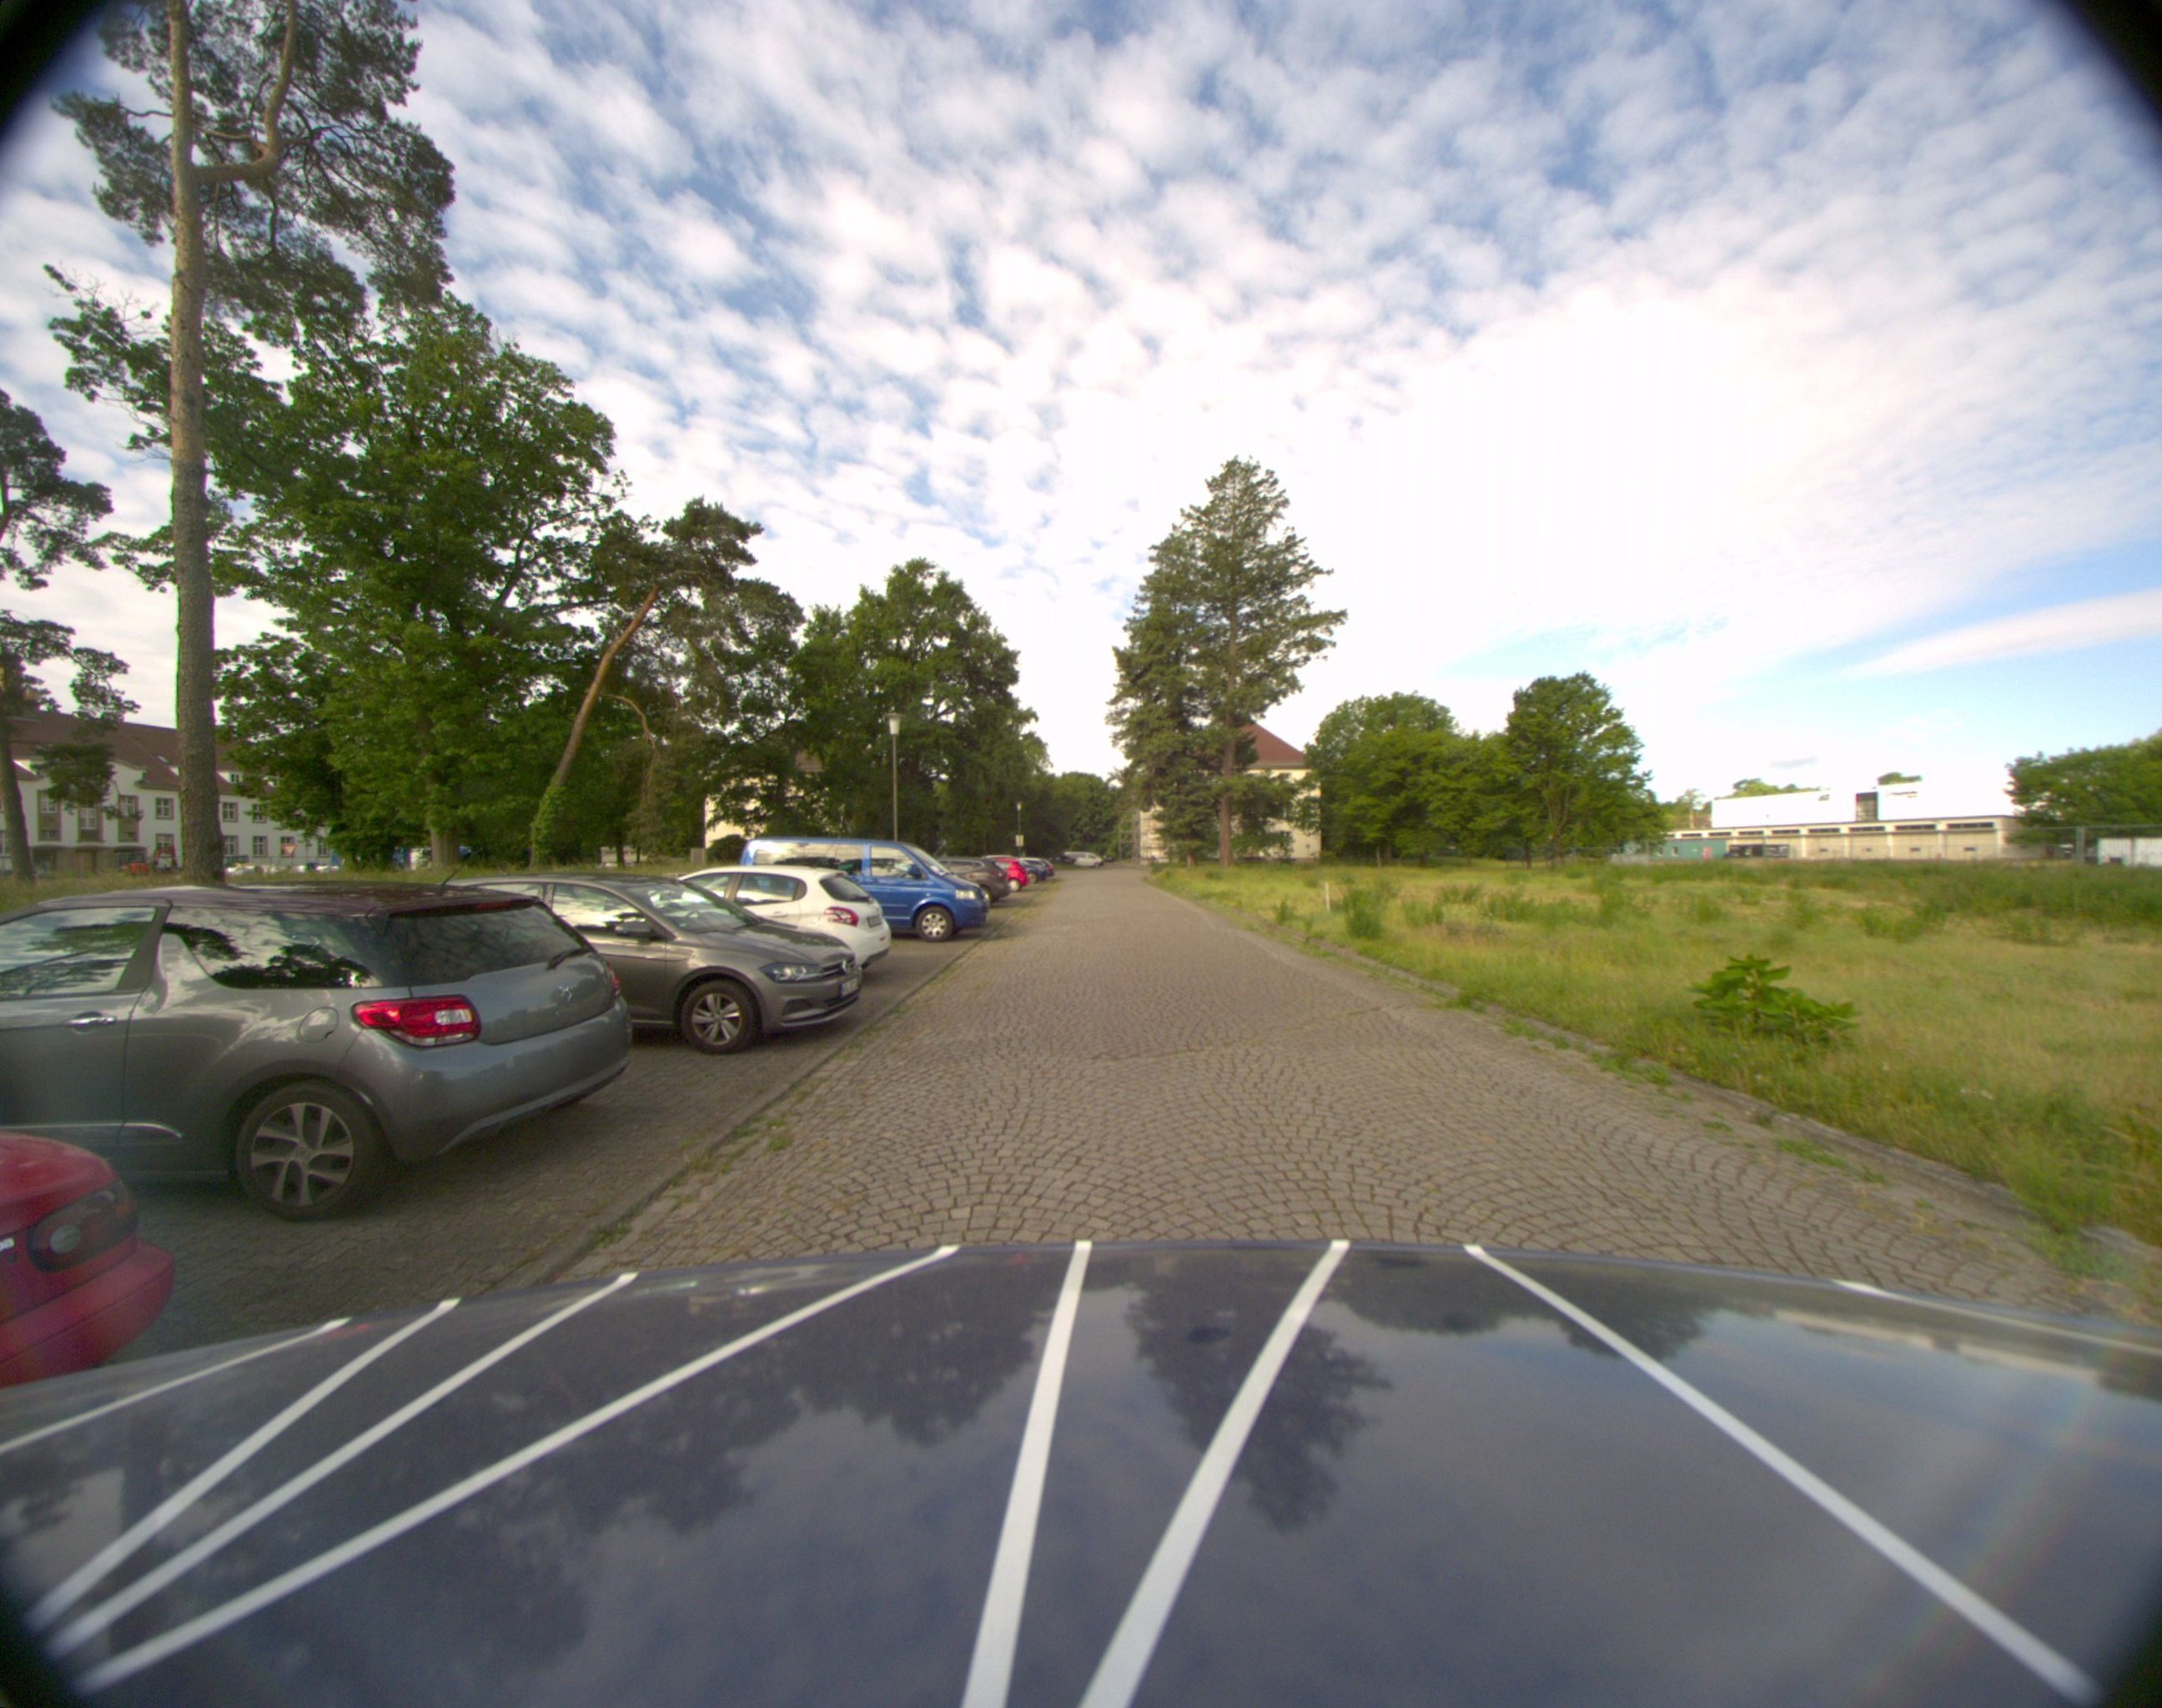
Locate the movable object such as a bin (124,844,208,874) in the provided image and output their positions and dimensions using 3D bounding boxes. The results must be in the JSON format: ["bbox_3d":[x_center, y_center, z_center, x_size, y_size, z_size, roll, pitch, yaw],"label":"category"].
[{"bbox_3d":[-89.244,0.451,74.233,1.999,2.752,5.201,0,0,-4],"label":"movable object such as a bin"}]

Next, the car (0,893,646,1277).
[{"bbox_3d":[-4.652,1.008,3.950,3.837,1.495,1.604,0,0,1],"label":"car"}]

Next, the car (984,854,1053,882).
[{"bbox_3d":[-3.644,0.793,44.609,3.836,1.609,1.582,0,0,5],"label":"car"}]

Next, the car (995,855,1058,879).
[{"bbox_3d":[-3.492,0.848,49.374,3.836,1.520,1.674,0,0,5],"label":"car"}]

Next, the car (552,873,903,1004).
[{"bbox_3d":[-4.372,1.025,9.766,3.761,1.490,1.581,0,0,3],"label":"car"}]

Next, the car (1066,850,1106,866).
[{"bbox_3d":[0.640,0.526,98.007,5.129,2.002,1.804,0,1,-1],"label":"car"}]

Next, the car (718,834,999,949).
[{"bbox_3d":[-4.267,0.685,15.172,4.953,2.011,2.060,1,0,2],"label":"car"}]

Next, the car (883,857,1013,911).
[{"bbox_3d":[-4.086,0.902,23.818,3.838,1.592,1.581,0,0,-3],"label":"car"}]

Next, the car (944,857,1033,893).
[{"bbox_3d":[-4.114,0.918,34.175,3.838,1.516,1.581,0,0,-3],"label":"car"}]

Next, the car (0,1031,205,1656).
[{"bbox_3d":[-4.166,1.137,1.295,3.554,1.279,1.608,0,2,3],"label":"car"}]

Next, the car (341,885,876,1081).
[{"bbox_3d":[-3.972,1.052,6.811,3.780,1.457,1.643,0,0,3],"label":"car"}]
